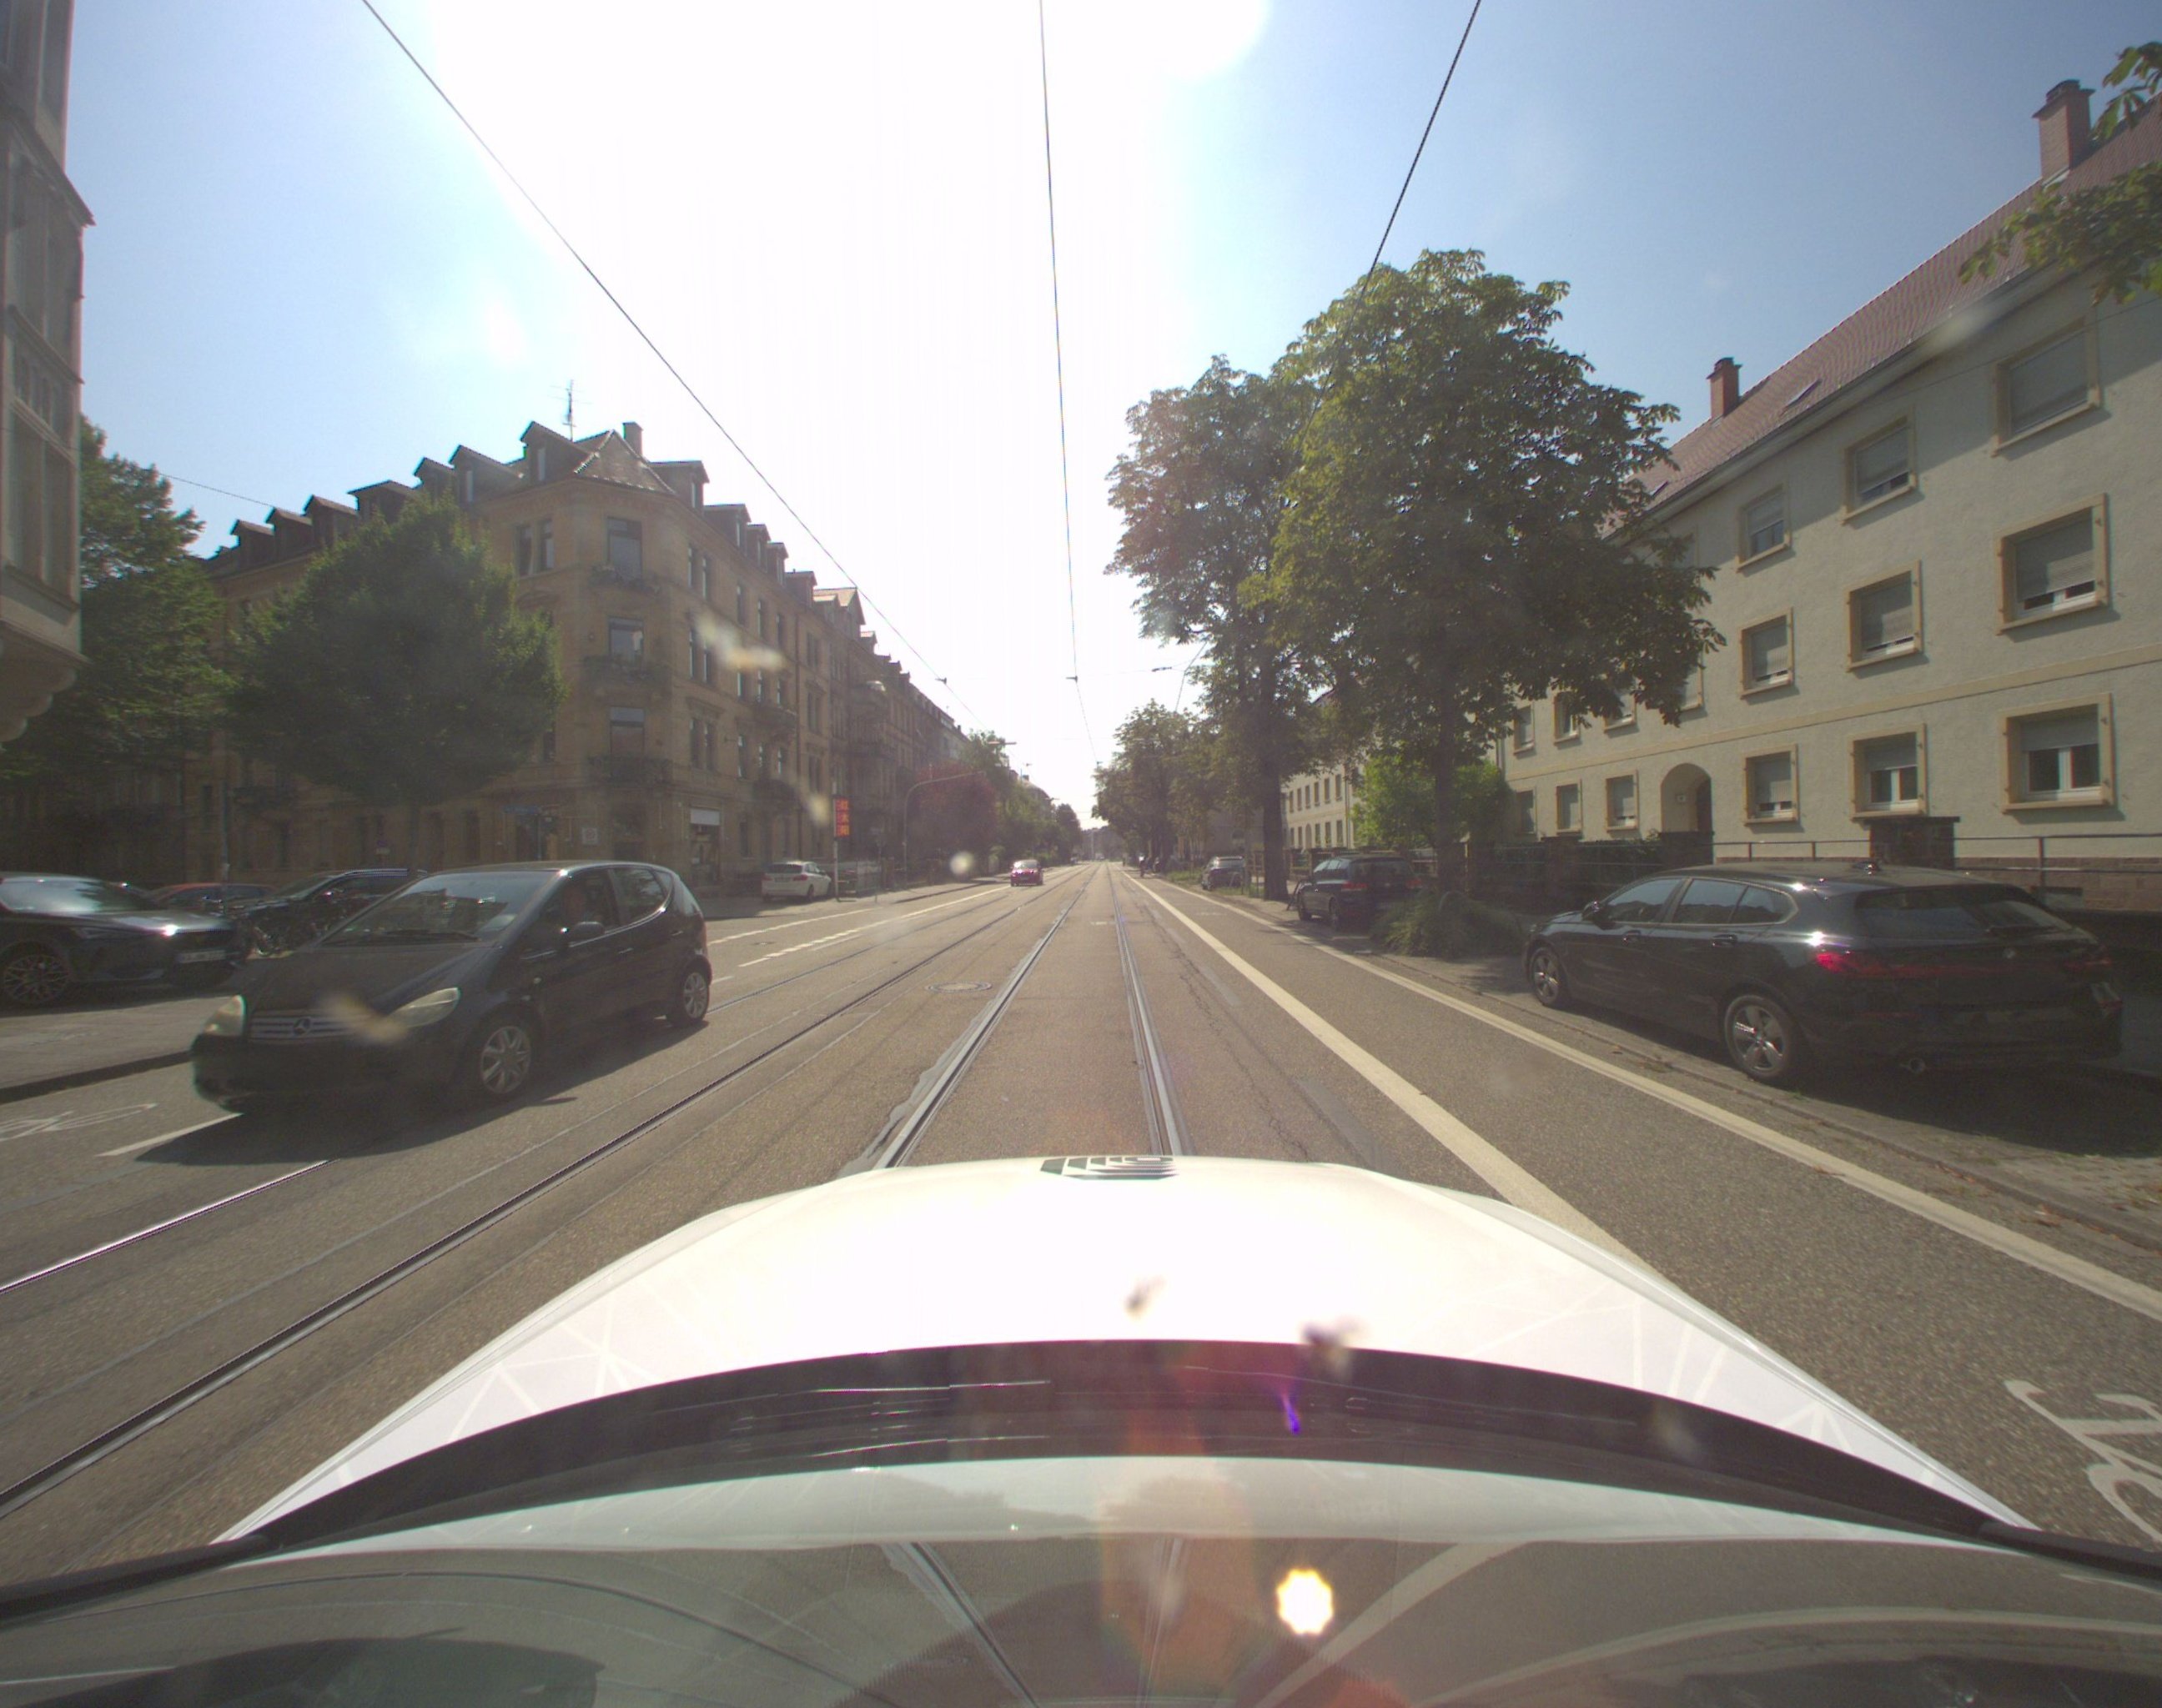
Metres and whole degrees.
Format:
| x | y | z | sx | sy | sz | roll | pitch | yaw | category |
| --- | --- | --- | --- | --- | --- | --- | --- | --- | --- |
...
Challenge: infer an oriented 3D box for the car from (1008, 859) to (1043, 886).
| x | y | z | sx | sy | sz | roll | pitch | yaw | category |
| --- | --- | --- | --- | --- | --- | --- | --- | --- | --- |
| -3.260 | 1.074 | 48.463 | 1.726 | 1.490 | 4.001 | -2 | 0 | 1 | car |

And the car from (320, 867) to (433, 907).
| x | y | z | sx | sy | sz | roll | pitch | yaw | category |
| --- | --- | --- | --- | --- | --- | --- | --- | --- | --- |
| -25.349 | 1.188 | 29.296 | 3.668 | 1.364 | 1.785 | -2 | -2 | 27 | car |

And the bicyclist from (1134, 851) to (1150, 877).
| x | y | z | sx | sy | sz | roll | pitch | yaw | category |
| --- | --- | --- | --- | --- | --- | --- | --- | --- | --- |
| 4.529 | 0.733 | 60.178 | 1.121 | 1.837 | 0.956 | -1 | -1 | 2 | bicyclist |

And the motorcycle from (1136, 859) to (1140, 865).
| x | y | z | sx | sy | sz | roll | pitch | yaw | category |
| --- | --- | --- | --- | --- | --- | --- | --- | --- | --- |
| 10.013 | 1.368 | 143.860 | 0.547 | 1.068 | 2.331 | -1 | -1 | 2 | motorcycle |

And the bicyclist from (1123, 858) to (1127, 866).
| x | y | z | sx | sy | sz | roll | pitch | yaw | category |
| --- | --- | --- | --- | --- | --- | --- | --- | --- | --- |
| 6.881 | 1.235 | 128.206 | 0.576 | 1.279 | 0.472 | -1 | -1 | 4 | bicyclist |

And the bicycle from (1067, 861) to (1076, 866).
| x | y | z | sx | sy | sz | roll | pitch | yaw | category |
| --- | --- | --- | --- | --- | --- | --- | --- | --- | --- |
| -1.626 | 1.663 | 144.467 | 0.752 | 0.991 | 2.310 | -2 | -1 | 21 | bicycle |

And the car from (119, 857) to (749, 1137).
| x | y | z | sx | sy | sz | roll | pitch | yaw | category |
| --- | --- | --- | --- | --- | --- | --- | --- | --- | --- |
| -4.530 | 0.827 | 6.667 | 1.820 | 1.540 | 4.002 | -2 | 0 | 2 | car |

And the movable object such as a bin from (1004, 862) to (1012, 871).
| x | y | z | sx | sy | sz | roll | pitch | yaw | category |
| --- | --- | --- | --- | --- | --- | --- | --- | --- | --- |
| -8.604 | 1.436 | 96.387 | 0.783 | 1.076 | 0.804 | 0 | -1 | 4 | movable object such as a bin |

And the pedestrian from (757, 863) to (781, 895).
| x | y | z | sx | sy | sz | roll | pitch | yaw | category |
| --- | --- | --- | --- | --- | --- | --- | --- | --- | --- |
| -14.924 | 1.182 | 38.998 | 0.866 | 1.511 | 0.884 | -1 | -1 | -7 | pedestrian |

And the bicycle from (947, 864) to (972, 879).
| x | y | z | sx | sy | sz | roll | pitch | yaw | category |
| --- | --- | --- | --- | --- | --- | --- | --- | --- | --- |
| -9.529 | 1.397 | 63.988 | 1.805 | 1.182 | 0.717 | 0 | -1 | 3 | bicycle |

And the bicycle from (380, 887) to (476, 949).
| x | y | z | sx | sy | sz | roll | pitch | yaw | category |
| --- | --- | --- | --- | --- | --- | --- | --- | --- | --- |
| -12.991 | 1.248 | 16.238 | 0.385 | 1.099 | 1.460 | -1 | 0 | 27 | bicycle |

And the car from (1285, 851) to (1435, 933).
| x | y | z | sx | sy | sz | roll | pitch | yaw | category |
| --- | --- | --- | --- | --- | --- | --- | --- | --- | --- |
| 5.783 | 0.721 | 17.444 | 1.749 | 1.477 | 4.387 | -1 | 0 | 1 | car |

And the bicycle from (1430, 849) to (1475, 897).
| x | y | z | sx | sy | sz | roll | pitch | yaw | category |
| --- | --- | --- | --- | --- | --- | --- | --- | --- | --- |
| 10.726 | 0.530 | 23.572 | 0.454 | 1.333 | 1.893 | -2 | -1 | 2 | bicycle |

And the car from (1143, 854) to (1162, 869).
| x | y | z | sx | sy | sz | roll | pitch | yaw | category |
| --- | --- | --- | --- | --- | --- | --- | --- | --- | --- |
| 8.026 | 0.854 | 91.743 | 1.834 | 1.532 | 4.781 | -3 | -1 | 1 | car |

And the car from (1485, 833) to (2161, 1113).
| x | y | z | sx | sy | sz | roll | pitch | yaw | category |
| --- | --- | --- | --- | --- | --- | --- | --- | --- | --- |
| 5.412 | 0.716 | 6.931 | 1.749 | 1.477 | 4.459 | -5 | -1 | 2 | car |

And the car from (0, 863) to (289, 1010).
| x | y | z | sx | sy | sz | roll | pitch | yaw | category |
| --- | --- | --- | --- | --- | --- | --- | --- | --- | --- |
| -12.597 | 0.927 | 9.946 | 4.084 | 1.594 | 1.880 | 0 | -1 | 3 | car |

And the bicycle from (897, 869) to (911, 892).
| x | y | z | sx | sy | sz | roll | pitch | yaw | category |
| --- | --- | --- | --- | --- | --- | --- | --- | --- | --- |
| -9.060 | 1.333 | 41.670 | 0.389 | 1.099 | 1.568 | -1 | 0 | -1 | bicycle |

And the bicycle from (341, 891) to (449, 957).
| x | y | z | sx | sy | sz | roll | pitch | yaw | category |
| --- | --- | --- | --- | --- | --- | --- | --- | --- | --- |
| -12.470 | 1.256 | 14.841 | 1.452 | 1.099 | 0.388 | -1 | 0 | -21 | bicycle |

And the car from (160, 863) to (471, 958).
| x | y | z | sx | sy | sz | roll | pitch | yaw | category |
| --- | --- | --- | --- | --- | --- | --- | --- | --- | --- |
| -16.017 | 1.093 | 17.372 | 1.976 | 1.689 | 4.383 | -2 | -1 | 22 | car |

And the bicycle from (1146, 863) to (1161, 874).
| x | y | z | sx | sy | sz | roll | pitch | yaw | category |
| --- | --- | --- | --- | --- | --- | --- | --- | --- | --- |
| 7.796 | 1.540 | 87.622 | 1.597 | 1.104 | 0.399 | -1 | -1 | 7 | bicycle |

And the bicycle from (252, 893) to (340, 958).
| x | y | z | sx | sy | sz | roll | pitch | yaw | category |
| --- | --- | --- | --- | --- | --- | --- | --- | --- | --- |
| -13.946 | 1.257 | 14.470 | 1.437 | 1.099 | 0.392 | -1 | 0 | 12 | bicycle |

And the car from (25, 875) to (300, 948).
| x | y | z | sx | sy | sz | roll | pitch | yaw | category |
| --- | --- | --- | --- | --- | --- | --- | --- | --- | --- |
| -20.955 | 1.261 | 18.797 | 1.828 | 1.476 | 3.778 | -2 | -2 | 21 | car |

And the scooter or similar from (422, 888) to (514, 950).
| x | y | z | sx | sy | sz | roll | pitch | yaw | category |
| --- | --- | --- | --- | --- | --- | --- | --- | --- | --- |
| -12.145 | 1.264 | 16.175 | 0.592 | 1.099 | 1.394 | -1 | 0 | 12 | scooter or similar |

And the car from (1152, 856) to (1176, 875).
| x | y | z | sx | sy | sz | roll | pitch | yaw | category |
| --- | --- | --- | --- | --- | --- | --- | --- | --- | --- |
| 7.582 | 1.035 | 74.284 | 1.834 | 1.532 | 4.116 | -2 | 1 | 1 | car |

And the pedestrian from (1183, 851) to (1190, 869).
| x | y | z | sx | sy | sz | roll | pitch | yaw | category |
| --- | --- | --- | --- | --- | --- | --- | --- | --- | --- |
| 11.036 | 0.631 | 85.344 | 0.703 | 1.892 | 0.714 | -1 | -1 | 3 | pedestrian |

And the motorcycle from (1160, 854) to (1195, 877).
| x | y | z | sx | sy | sz | roll | pitch | yaw | category |
| --- | --- | --- | --- | --- | --- | --- | --- | --- | --- |
| 6.922 | 0.819 | 58.676 | 2.316 | 1.540 | 0.975 | -5 | -3 | 43 | motorcycle |

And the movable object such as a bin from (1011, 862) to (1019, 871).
| x | y | z | sx | sy | sz | roll | pitch | yaw | category |
| --- | --- | --- | --- | --- | --- | --- | --- | --- | --- |
| -7.781 | 1.436 | 96.499 | 0.783 | 1.076 | 0.804 | 0 | -1 | 4 | movable object such as a bin |

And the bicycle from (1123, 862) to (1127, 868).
| x | y | z | sx | sy | sz | roll | pitch | yaw | category |
| --- | --- | --- | --- | --- | --- | --- | --- | --- | --- |
| 6.896 | 1.673 | 128.265 | 0.585 | 0.939 | 2.174 | -1 | -1 | 4 | bicycle |

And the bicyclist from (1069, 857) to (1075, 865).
| x | y | z | sx | sy | sz | roll | pitch | yaw | category |
| --- | --- | --- | --- | --- | --- | --- | --- | --- | --- |
| -1.655 | 1.301 | 144.420 | 0.752 | 1.392 | 0.783 | -2 | -1 | 22 | bicyclist |

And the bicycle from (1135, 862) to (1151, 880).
| x | y | z | sx | sy | sz | roll | pitch | yaw | category |
| --- | --- | --- | --- | --- | --- | --- | --- | --- | --- |
| 4.560 | 1.269 | 60.286 | 1.143 | 1.269 | 2.714 | -1 | 0 | 3 | bicycle |

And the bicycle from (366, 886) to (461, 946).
| x | y | z | sx | sy | sz | roll | pitch | yaw | category |
| --- | --- | --- | --- | --- | --- | --- | --- | --- | --- |
| -13.586 | 1.233 | 16.625 | 0.385 | 1.099 | 1.460 | -1 | 0 | 27 | bicycle |

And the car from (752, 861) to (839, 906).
| x | y | z | sx | sy | sz | roll | pitch | yaw | category |
| --- | --- | --- | --- | --- | --- | --- | --- | --- | --- |
| -11.234 | 1.111 | 32.357 | 1.988 | 1.594 | 4.356 | -2 | -1 | -2 | car |

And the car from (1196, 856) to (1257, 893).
| x | y | z | sx | sy | sz | roll | pitch | yaw | category |
| --- | --- | --- | --- | --- | --- | --- | --- | --- | --- |
| 6.314 | 0.862 | 35.813 | 1.885 | 1.477 | 4.841 | -1 | 0 | 1 | car |
